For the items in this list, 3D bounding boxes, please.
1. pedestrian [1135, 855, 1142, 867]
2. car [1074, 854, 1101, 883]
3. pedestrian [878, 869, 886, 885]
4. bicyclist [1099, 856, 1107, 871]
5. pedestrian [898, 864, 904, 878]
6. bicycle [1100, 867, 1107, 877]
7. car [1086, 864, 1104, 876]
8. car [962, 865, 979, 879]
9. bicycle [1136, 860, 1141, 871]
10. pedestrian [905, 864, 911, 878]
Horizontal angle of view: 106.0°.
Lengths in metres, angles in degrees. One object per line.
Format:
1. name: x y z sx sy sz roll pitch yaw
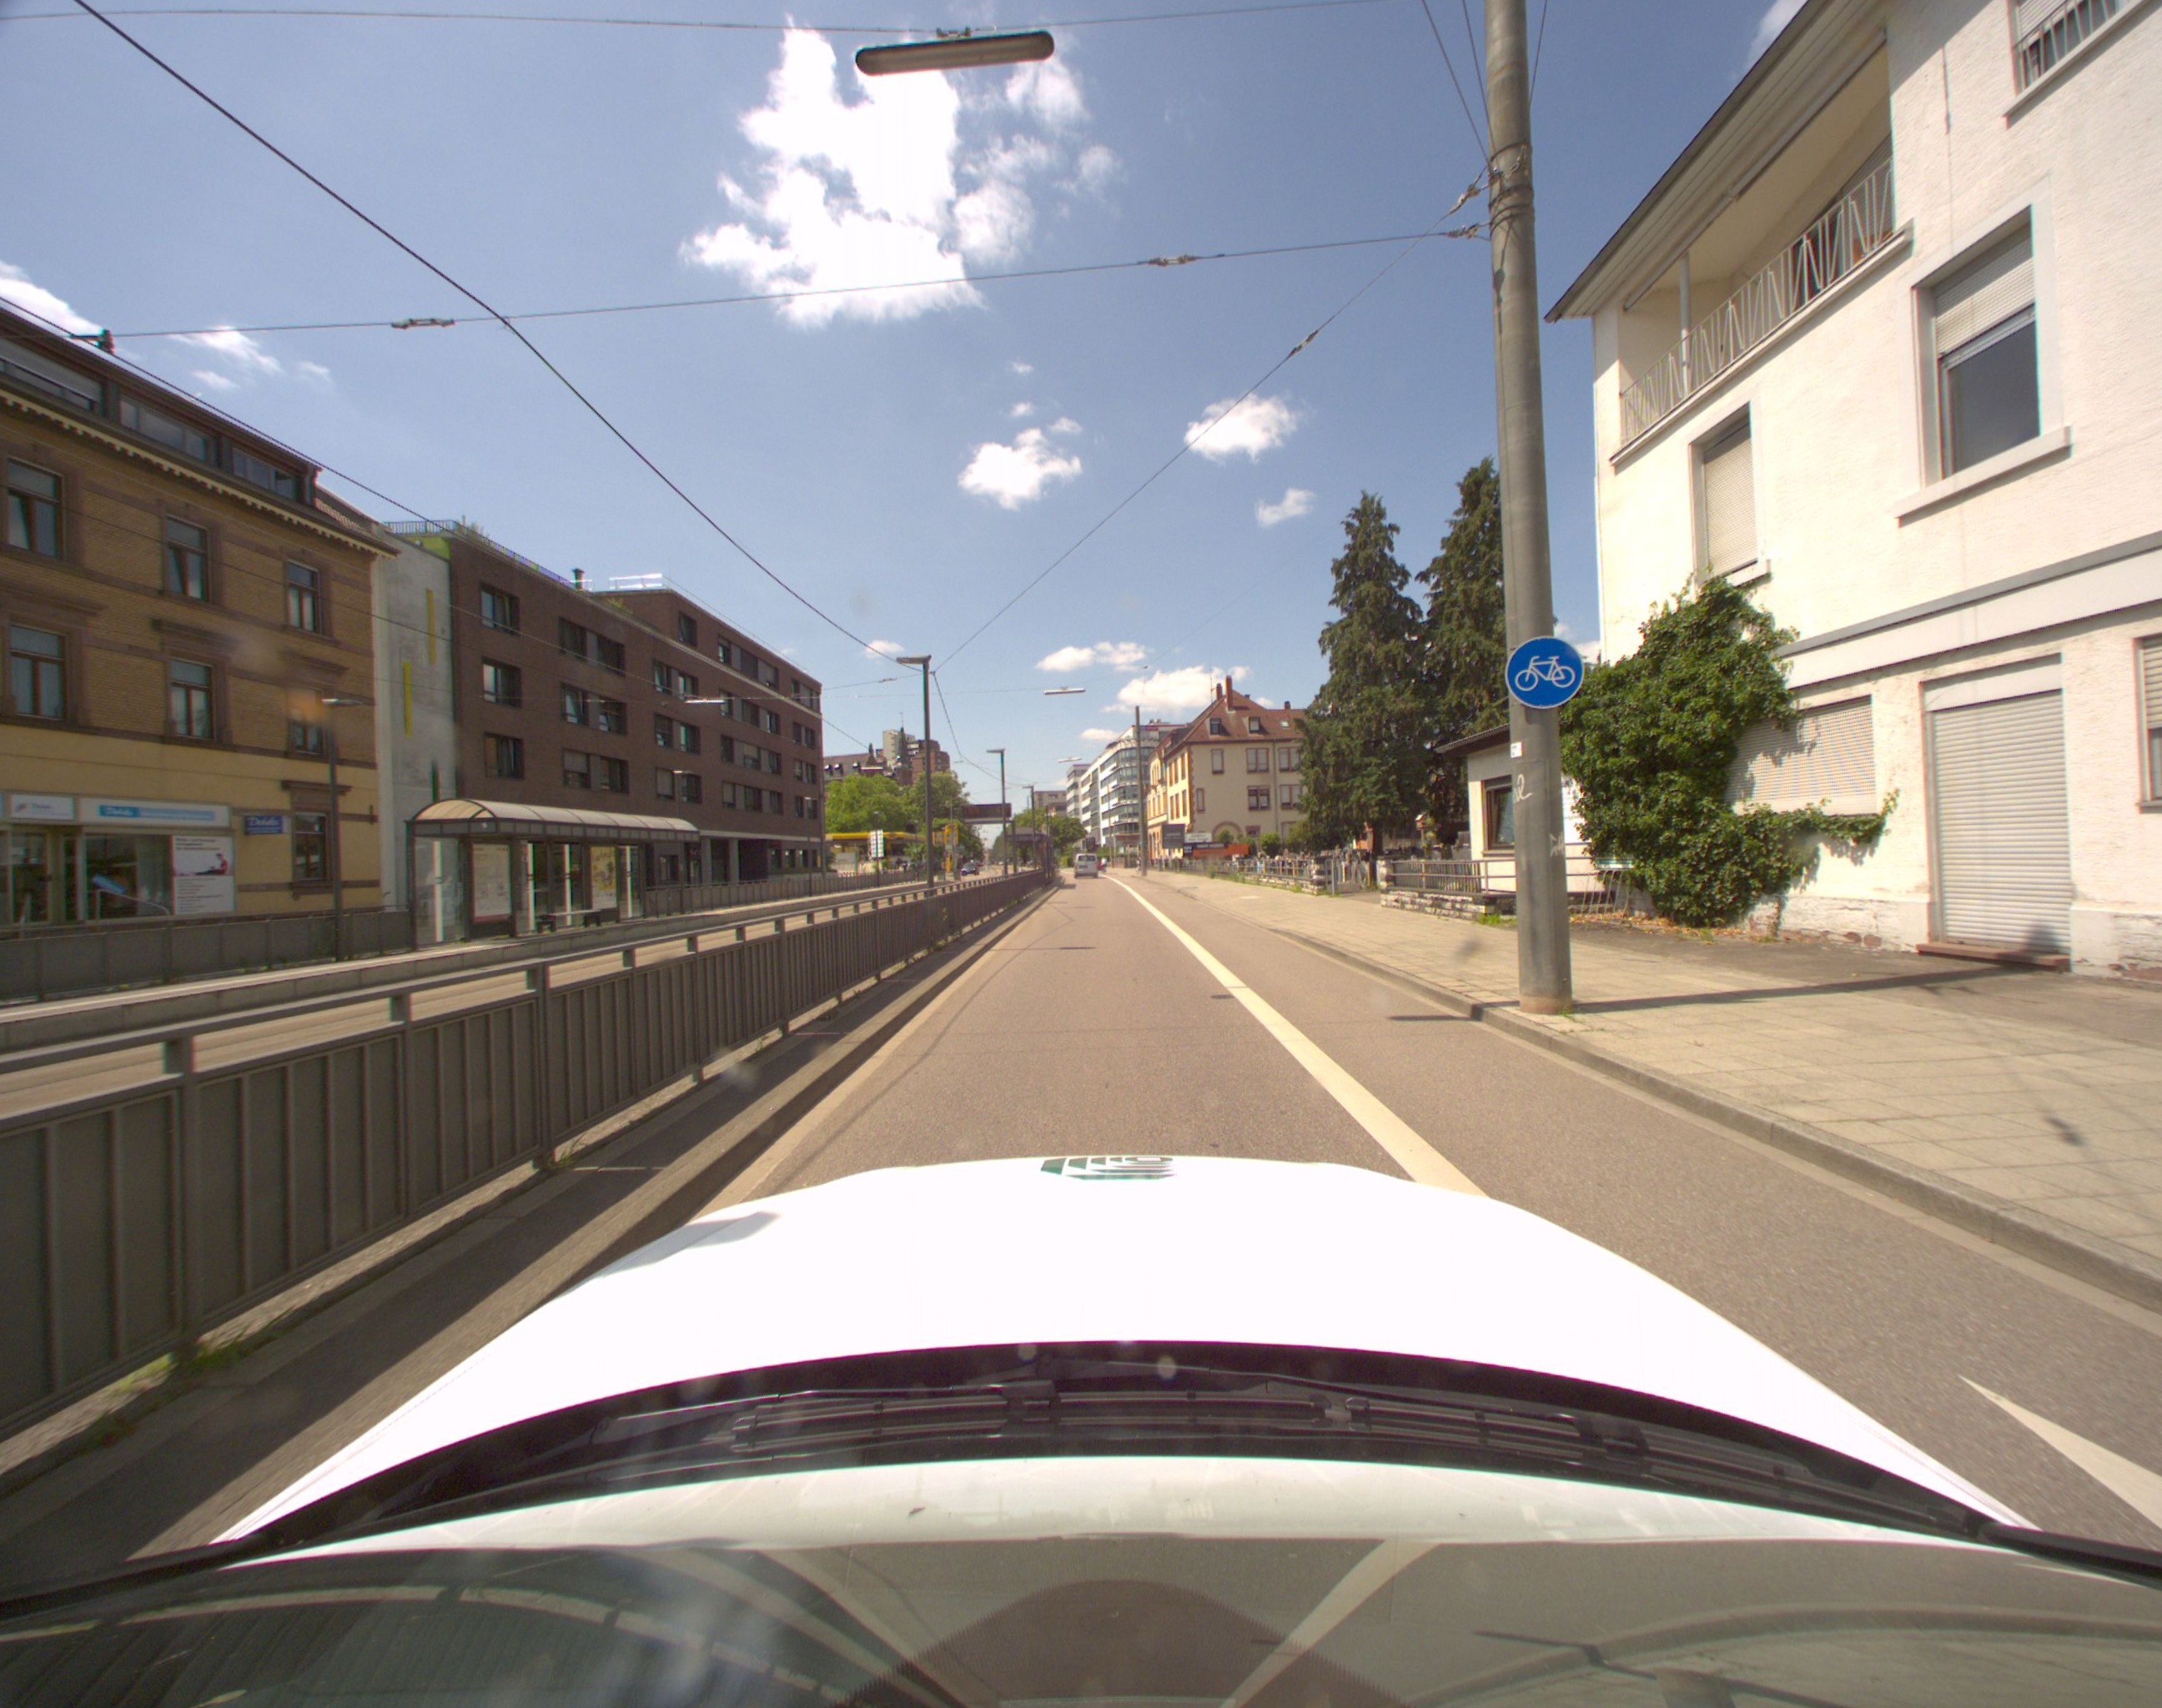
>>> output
1. pedestrian: 5.080 0.649 72.122 0.481 1.053 0.537 -5 -1 2
2. car: 0.453 1.077 61.668 1.747 2.013 3.998 -4 0 -1
3. pedestrian: -17.178 1.995 70.388 0.434 1.384 0.536 -5 -1 1
4. bicyclist: 2.131 0.945 78.538 0.590 1.397 0.840 -2 0 -5
5. pedestrian: -22.094 2.108 99.808 0.551 1.658 0.672 -2 -1 0
6. bicycle: 2.159 1.723 78.614 0.465 0.887 2.045 -2 0 -4
7. car: 1.755 2.002 102.925 1.710 1.452 4.063 -5 0 -7
8. car: -13.877 2.233 102.584 1.695 1.616 3.753 -2 -1 -3
9. bicycle: 5.108 0.994 72.083 0.355 0.940 1.318 -5 -1 2
10. pedestrian: -21.371 2.120 100.734 0.578 1.671 0.667 -2 -1 1
